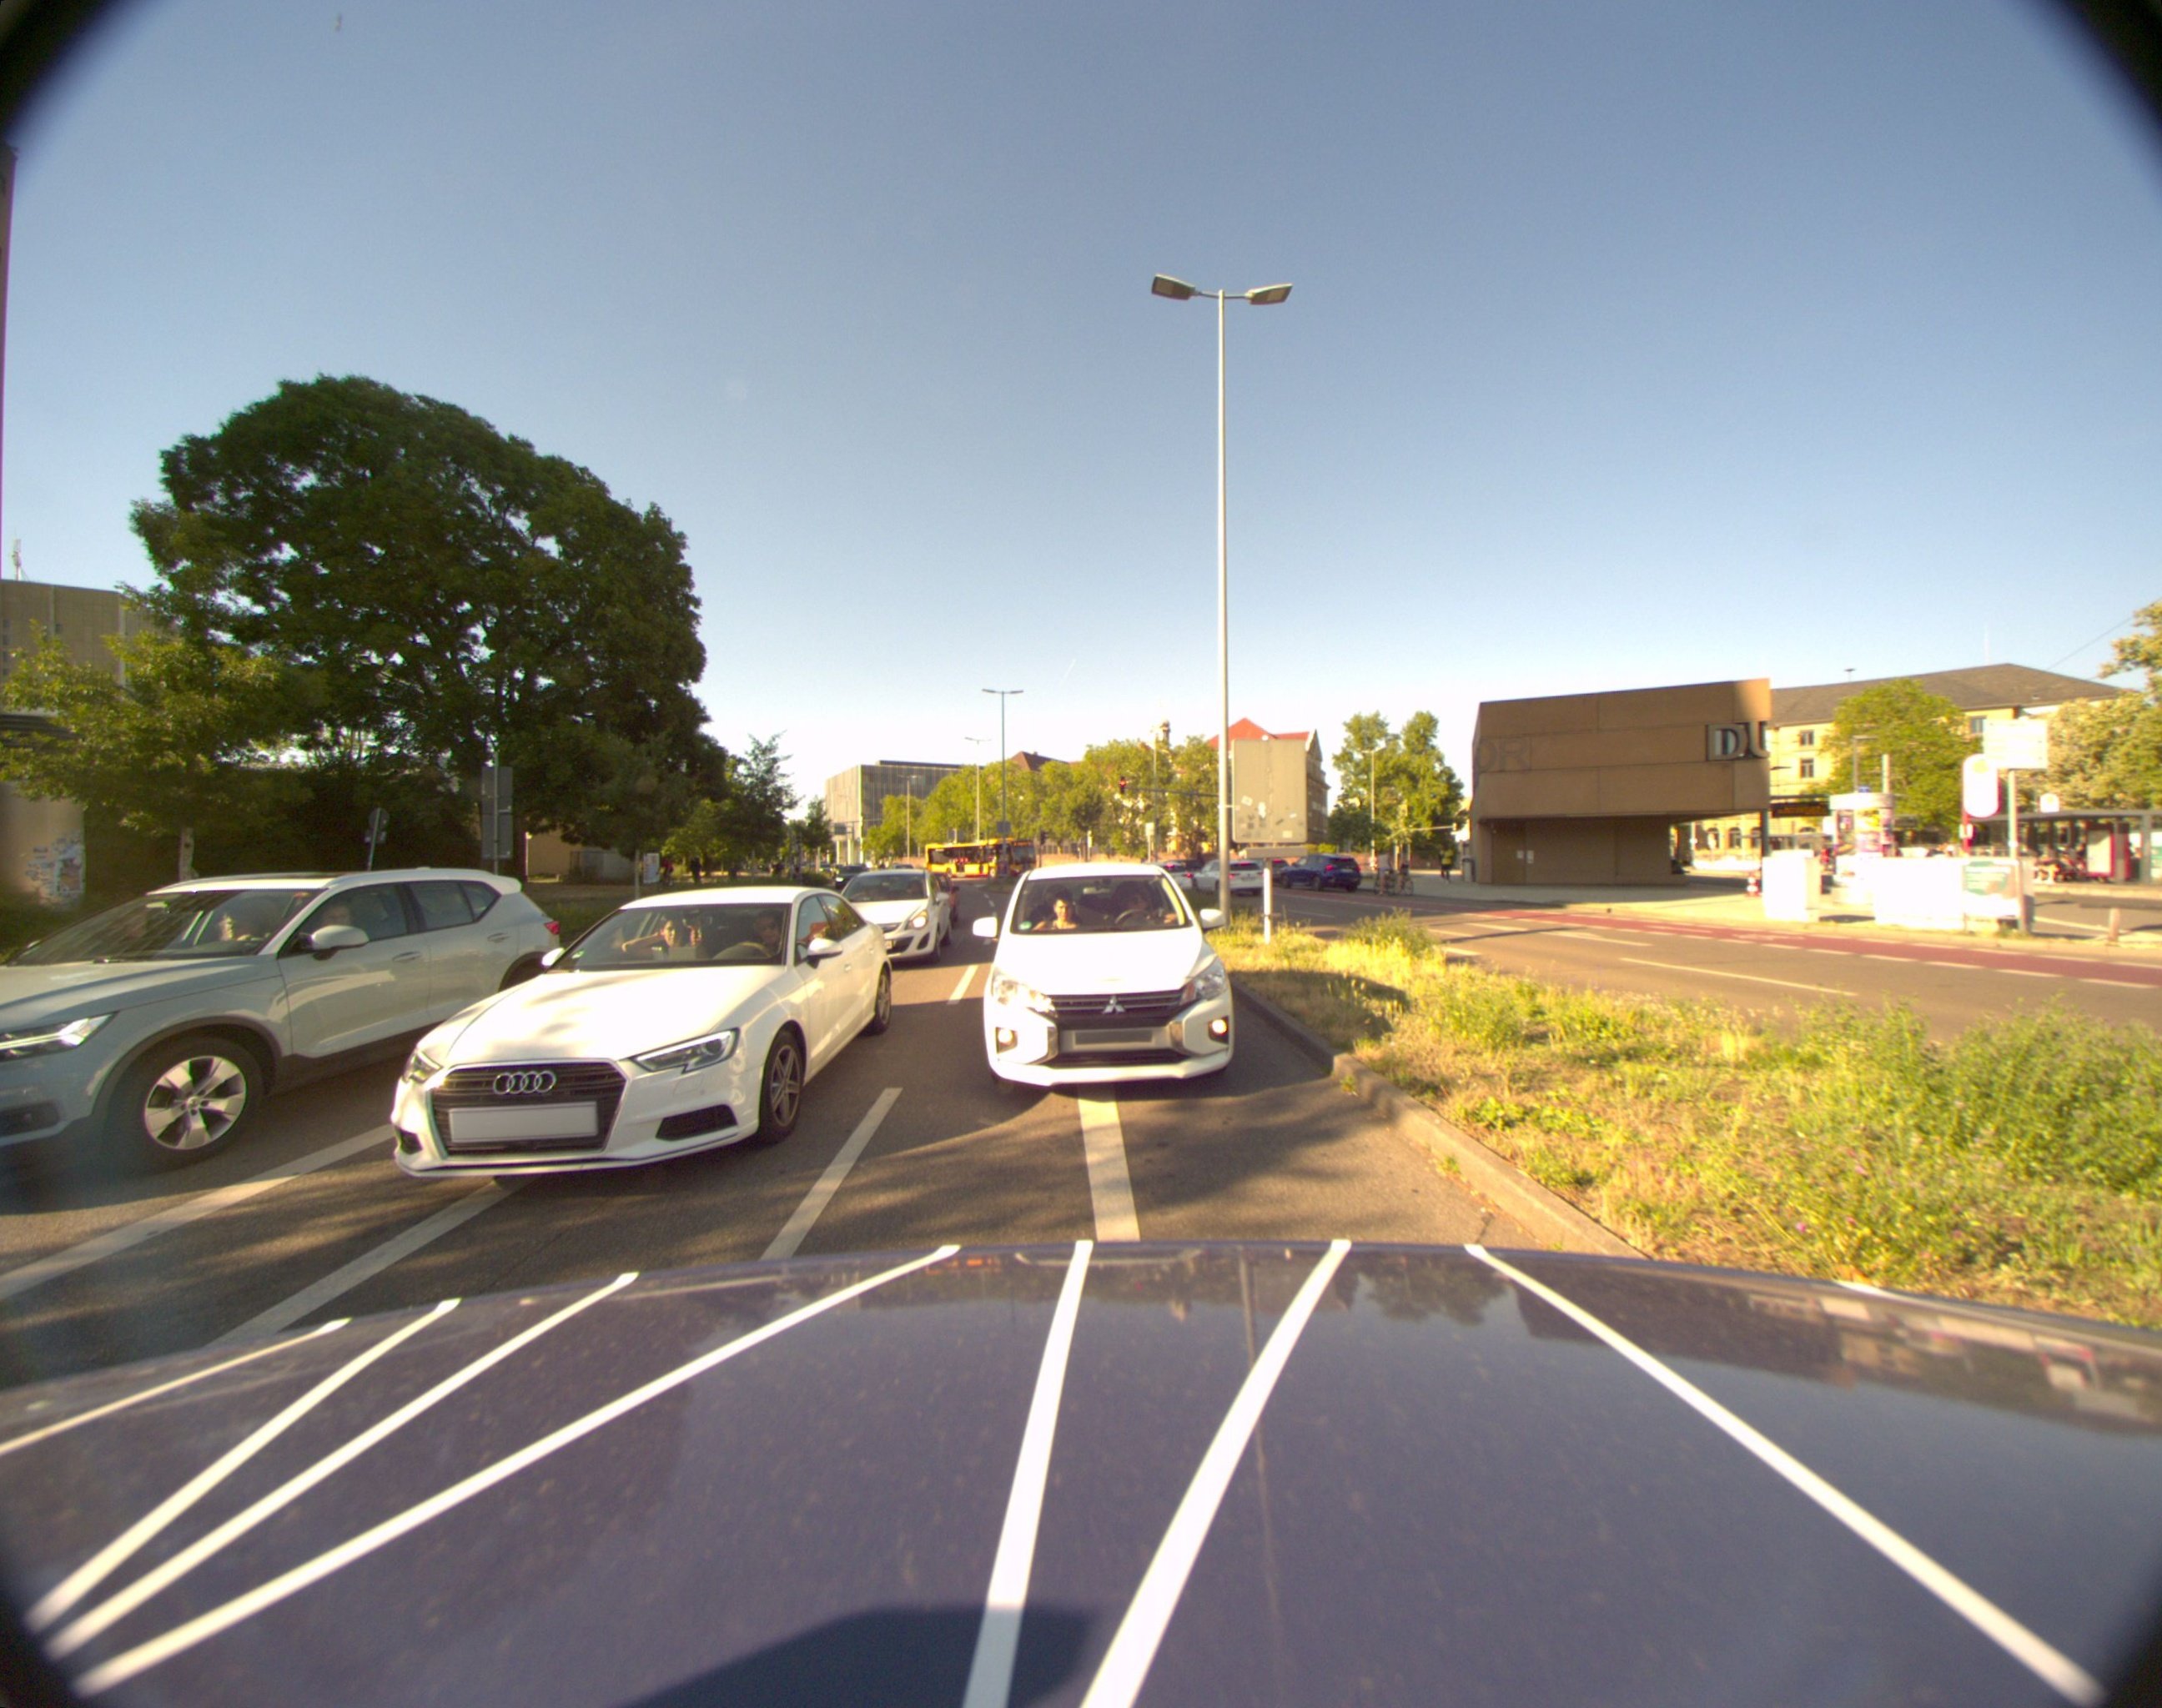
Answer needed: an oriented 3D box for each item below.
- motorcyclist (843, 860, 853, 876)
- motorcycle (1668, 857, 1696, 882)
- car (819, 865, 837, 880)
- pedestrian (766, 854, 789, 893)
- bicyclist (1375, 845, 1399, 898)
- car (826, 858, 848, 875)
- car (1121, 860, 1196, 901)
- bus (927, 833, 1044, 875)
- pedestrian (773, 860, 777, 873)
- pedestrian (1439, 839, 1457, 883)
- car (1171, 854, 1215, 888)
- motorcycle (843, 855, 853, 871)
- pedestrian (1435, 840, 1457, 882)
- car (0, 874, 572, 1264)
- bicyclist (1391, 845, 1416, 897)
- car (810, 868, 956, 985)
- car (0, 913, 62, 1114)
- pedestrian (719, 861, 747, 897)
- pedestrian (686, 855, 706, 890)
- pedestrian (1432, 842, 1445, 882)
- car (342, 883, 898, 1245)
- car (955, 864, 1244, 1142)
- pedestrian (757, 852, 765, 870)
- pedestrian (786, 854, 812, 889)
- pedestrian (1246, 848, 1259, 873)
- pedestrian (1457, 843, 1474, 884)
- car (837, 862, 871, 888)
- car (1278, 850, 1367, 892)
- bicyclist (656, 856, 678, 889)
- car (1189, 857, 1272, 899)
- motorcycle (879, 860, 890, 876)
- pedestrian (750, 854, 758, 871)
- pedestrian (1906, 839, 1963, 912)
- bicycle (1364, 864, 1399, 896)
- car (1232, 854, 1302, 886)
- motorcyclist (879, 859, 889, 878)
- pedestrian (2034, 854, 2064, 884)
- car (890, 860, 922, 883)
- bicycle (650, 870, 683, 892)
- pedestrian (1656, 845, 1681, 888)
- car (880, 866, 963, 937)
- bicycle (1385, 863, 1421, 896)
[{"bbox_3d":[-19.280,1.141,62.811,0.718,1.297,0.734,-3,1,-15],"label":"motorcyclist"},{"bbox_3d":[26.260,0.698,33.218,0.948,1.061,0.331,-1,1,39],"label":"motorcycle"},{"bbox_3d":[-29.613,2.130,88.992,1.748,1.696,3.993,-1,0,-21],"label":"car"},{"bbox_3d":[-16.147,1.033,40.486,0.895,2.002,0.881,-2,1,-10],"label":"pedestrian"},{"bbox_3d":[11.773,0.679,29.255,0.611,2.002,0.565,-1,1,-15],"label":"bicyclist"},{"bbox_3d":[-24.309,1.229,75.615,1.748,1.696,3.993,-1,0,-21],"label":"car"},{"bbox_3d":[3.094,1.011,31.205,1.757,1.451,4.184,-2,1,-13],"label":"car"},{"bbox_3d":[-8.312,0.094,63.894,3.093,3.193,12.510,-3,1,-42],"label":"bus"},{"bbox_3d":[-42.139,1.706,104.622,0.399,1.676,0.483,-1,1,1],"label":"pedestrian"},{"bbox_3d":[17.173,0.329,35.546,0.655,2.002,0.469,-2,1,20],"label":"pedestrian"},{"bbox_3d":[5.433,0.787,37.298,1.755,1.451,4.189,-2,1,4],"label":"car"},{"bbox_3d":[-19.294,0.708,62.915,0.718,1.297,2.232,-3,1,-15],"label":"motorcycle"},{"bbox_3d":[17.917,0.321,37.314,0.777,2.002,0.773,-2,1,13],"label":"pedestrian"},{"bbox_3d":[-5.748,1.049,5.255,1.628,1.611,4.223,-2,1,-2],"label":"car"},{"bbox_3d":[12.477,0.653,29.405,0.611,2.002,0.708,-1,1,-15],"label":"bicyclist"},{"bbox_3d":[-3.072,1.044,12.577,1.628,1.451,4.039,-2,1,-5],"label":"car"},{"bbox_3d":[-8.756,1.237,3.881,1.628,1.451,4.040,-2,1,-2],"label":"car"},{"bbox_3d":[-17.238,1.228,37.654,1.010,1.711,0.884,-2,1,-10],"label":"pedestrian"},{"bbox_3d":[-17.990,0.873,35.540,0.596,1.585,0.594,-2,1,-8],"label":"pedestrian"},{"bbox_3d":[18.178,0.380,38.613,0.467,2.002,0.657,-2,1,17],"label":"pedestrian"},{"bbox_3d":[-2.552,1.032,5.388,1.628,1.396,3.832,-2,1,-2],"label":"car"},{"bbox_3d":[0.058,0.889,6.431,1.628,1.451,4.040,-2,1,-2],"label":"car"},{"bbox_3d":[-29.008,0.592,68.909,0.548,1.597,0.603,-3,1,-19],"label":"pedestrian"},{"bbox_3d":[-16.708,1.004,45.101,1.143,2.002,1.285,-2,1,-10],"label":"pedestrian"},{"bbox_3d":[13.051,0.525,57.801,0.797,1.886,0.612,0,1,40],"label":"pedestrian"},{"bbox_3d":[19.091,0.447,37.746,0.655,2.002,0.469,-2,1,20],"label":"pedestrian"},{"bbox_3d":[-14.097,1.279,47.371,1.757,1.451,4.183,-2,1,-14],"label":"car"},{"bbox_3d":[10.433,0.691,33.166,1.757,1.680,4.183,-1,0,-14],"label":"car"},{"bbox_3d":[-20.105,0.880,36.916,0.617,1.551,0.870,-2,1,-8],"label":"bicyclist"},{"bbox_3d":[6.047,0.941,31.321,1.850,1.483,4.388,-2,1,-10],"label":"car"},{"bbox_3d":[-16.830,1.217,65.123,0.718,1.297,2.231,-3,1,-19],"label":"motorcycle"},{"bbox_3d":[-29.568,0.744,68.707,0.548,1.521,0.603,-3,1,-19],"label":"pedestrian"},{"bbox_3d":[20.875,0.529,18.597,0.713,1.748,0.583,-2,1,20],"label":"pedestrian"},{"bbox_3d":[11.677,1.006,29.523,0.464,1.185,1.395,-3,1,-17],"label":"bicycle"},{"bbox_3d":[9.483,0.784,39.105,1.850,1.483,4.388,1,0,-10],"label":"car"},{"bbox_3d":[-16.823,1.195,64.994,0.712,1.581,0.689,-3,1,-19],"label":"motorcyclist"},{"bbox_3d":[38.911,0.608,30.548,0.539,1.180,0.659,-2,1,29],"label":"pedestrian"},{"bbox_3d":[-12.639,1.213,54.643,1.758,1.451,4.182,-3,1,-19],"label":"car"},{"bbox_3d":[-20.122,1.288,36.927,0.660,0.958,2.033,0,1,-7],"label":"bicycle"},{"bbox_3d":[27.942,0.602,36.146,0.780,2.002,0.771,-3,2,-42],"label":"pedestrian"},{"bbox_3d":[-3.895,1.092,19.095,1.628,1.451,4.039,-2,1,-7],"label":"car"},{"bbox_3d":[12.486,0.976,29.451,0.464,1.185,1.395,-3,1,-17],"label":"bicycle"}]
